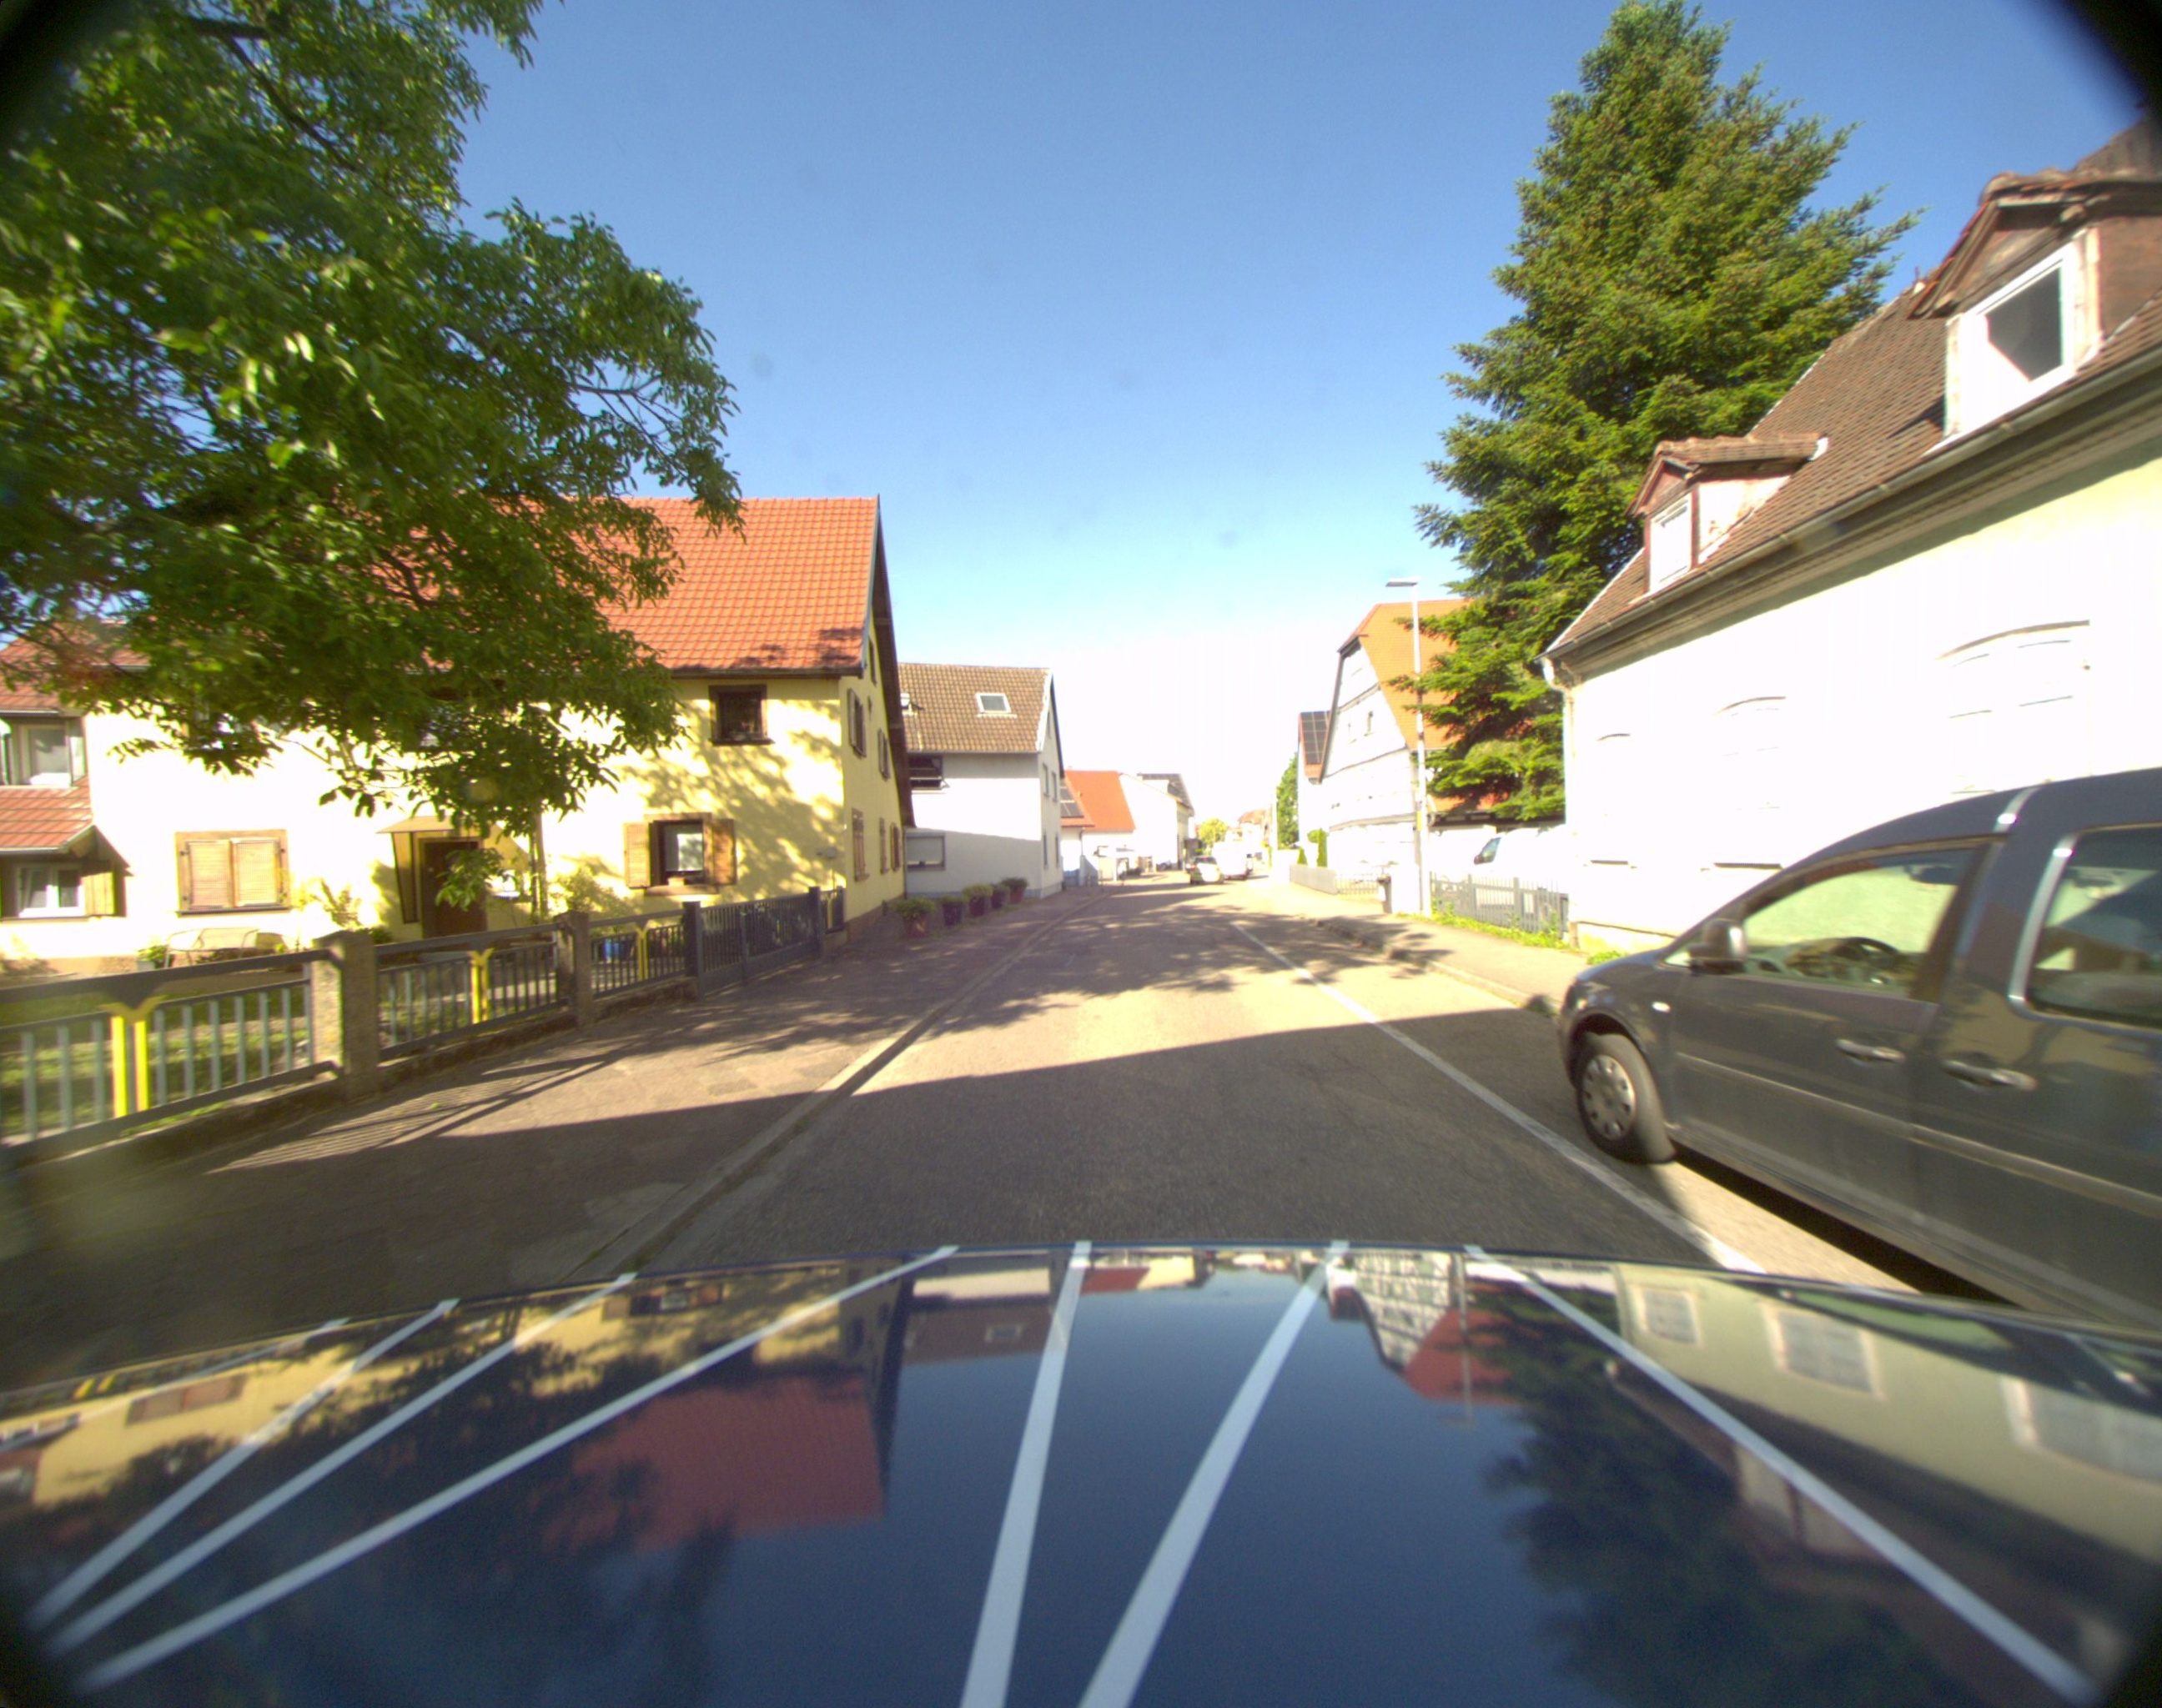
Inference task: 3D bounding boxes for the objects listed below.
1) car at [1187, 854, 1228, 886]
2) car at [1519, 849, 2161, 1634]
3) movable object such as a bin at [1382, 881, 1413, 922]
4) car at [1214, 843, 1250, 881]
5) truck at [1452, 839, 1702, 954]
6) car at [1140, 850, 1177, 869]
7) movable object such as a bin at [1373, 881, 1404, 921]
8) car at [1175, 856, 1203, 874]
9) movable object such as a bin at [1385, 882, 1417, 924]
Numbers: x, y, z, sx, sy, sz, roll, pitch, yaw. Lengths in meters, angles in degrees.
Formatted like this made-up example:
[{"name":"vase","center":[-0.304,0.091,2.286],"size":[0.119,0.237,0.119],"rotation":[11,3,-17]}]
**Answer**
[{"name":"car","center":[6.906,0.862,41.069],"size":[1.891,1.581,4.005],"rotation":[1,-1,13]},{"name":"car","center":[3.432,0.930,2.273],"size":[1.836,1.779,4.354],"rotation":[3,-1,3]},{"name":"movable object such as a bin","center":[7.472,1.126,17.940],"size":[0.525,0.941,0.430],"rotation":[-1,-1,-2]},{"name":"car","center":[9.530,0.527,47.682],"size":[2.058,2.233,4.865],"rotation":[1,-1,13]},{"name":"truck","center":[9.254,0.751,14.792],"size":[1.998,1.837,4.754],"rotation":[-1,-1,4]},{"name":"car","center":[8.394,0.647,82.249],"size":[3.994,2.001,1.843],"rotation":[0,-1,7]},{"name":"movable object such as a bin","center":[7.464,1.132,18.458],"size":[0.525,0.941,0.520],"rotation":[-1,-1,-2]},{"name":"car","center":[9.356,0.940,65.633],"size":[1.805,1.468,4.349],"rotation":[-2,-1,16]},{"name":"movable object such as a bin","center":[7.343,1.118,17.470],"size":[0.525,0.941,0.430],"rotation":[-1,-1,-2]}]
